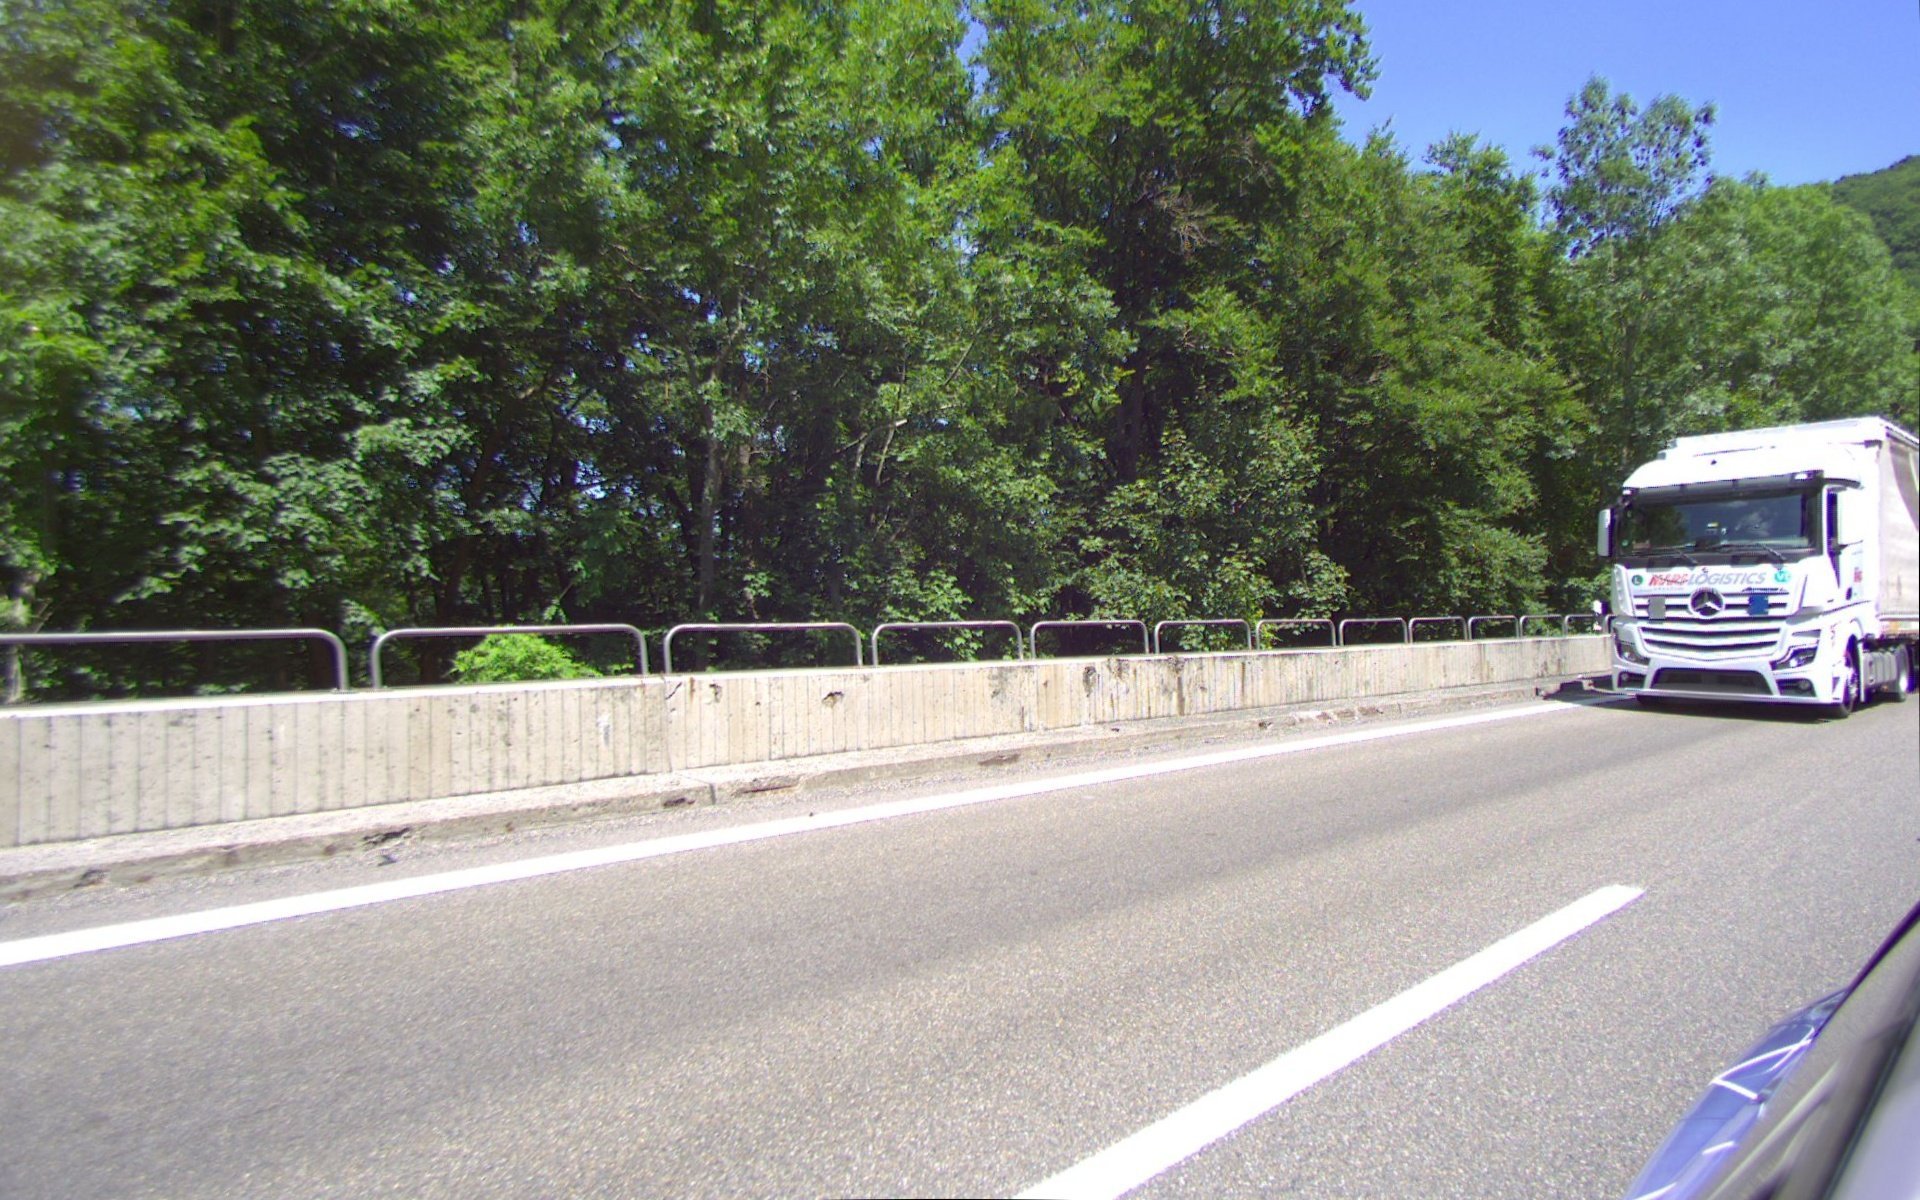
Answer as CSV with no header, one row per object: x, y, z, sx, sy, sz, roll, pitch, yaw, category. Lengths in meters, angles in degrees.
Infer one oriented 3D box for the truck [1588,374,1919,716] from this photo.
16.522,-0.689,18.635,16.401,4.185,2.969,0,0,-38,truck
